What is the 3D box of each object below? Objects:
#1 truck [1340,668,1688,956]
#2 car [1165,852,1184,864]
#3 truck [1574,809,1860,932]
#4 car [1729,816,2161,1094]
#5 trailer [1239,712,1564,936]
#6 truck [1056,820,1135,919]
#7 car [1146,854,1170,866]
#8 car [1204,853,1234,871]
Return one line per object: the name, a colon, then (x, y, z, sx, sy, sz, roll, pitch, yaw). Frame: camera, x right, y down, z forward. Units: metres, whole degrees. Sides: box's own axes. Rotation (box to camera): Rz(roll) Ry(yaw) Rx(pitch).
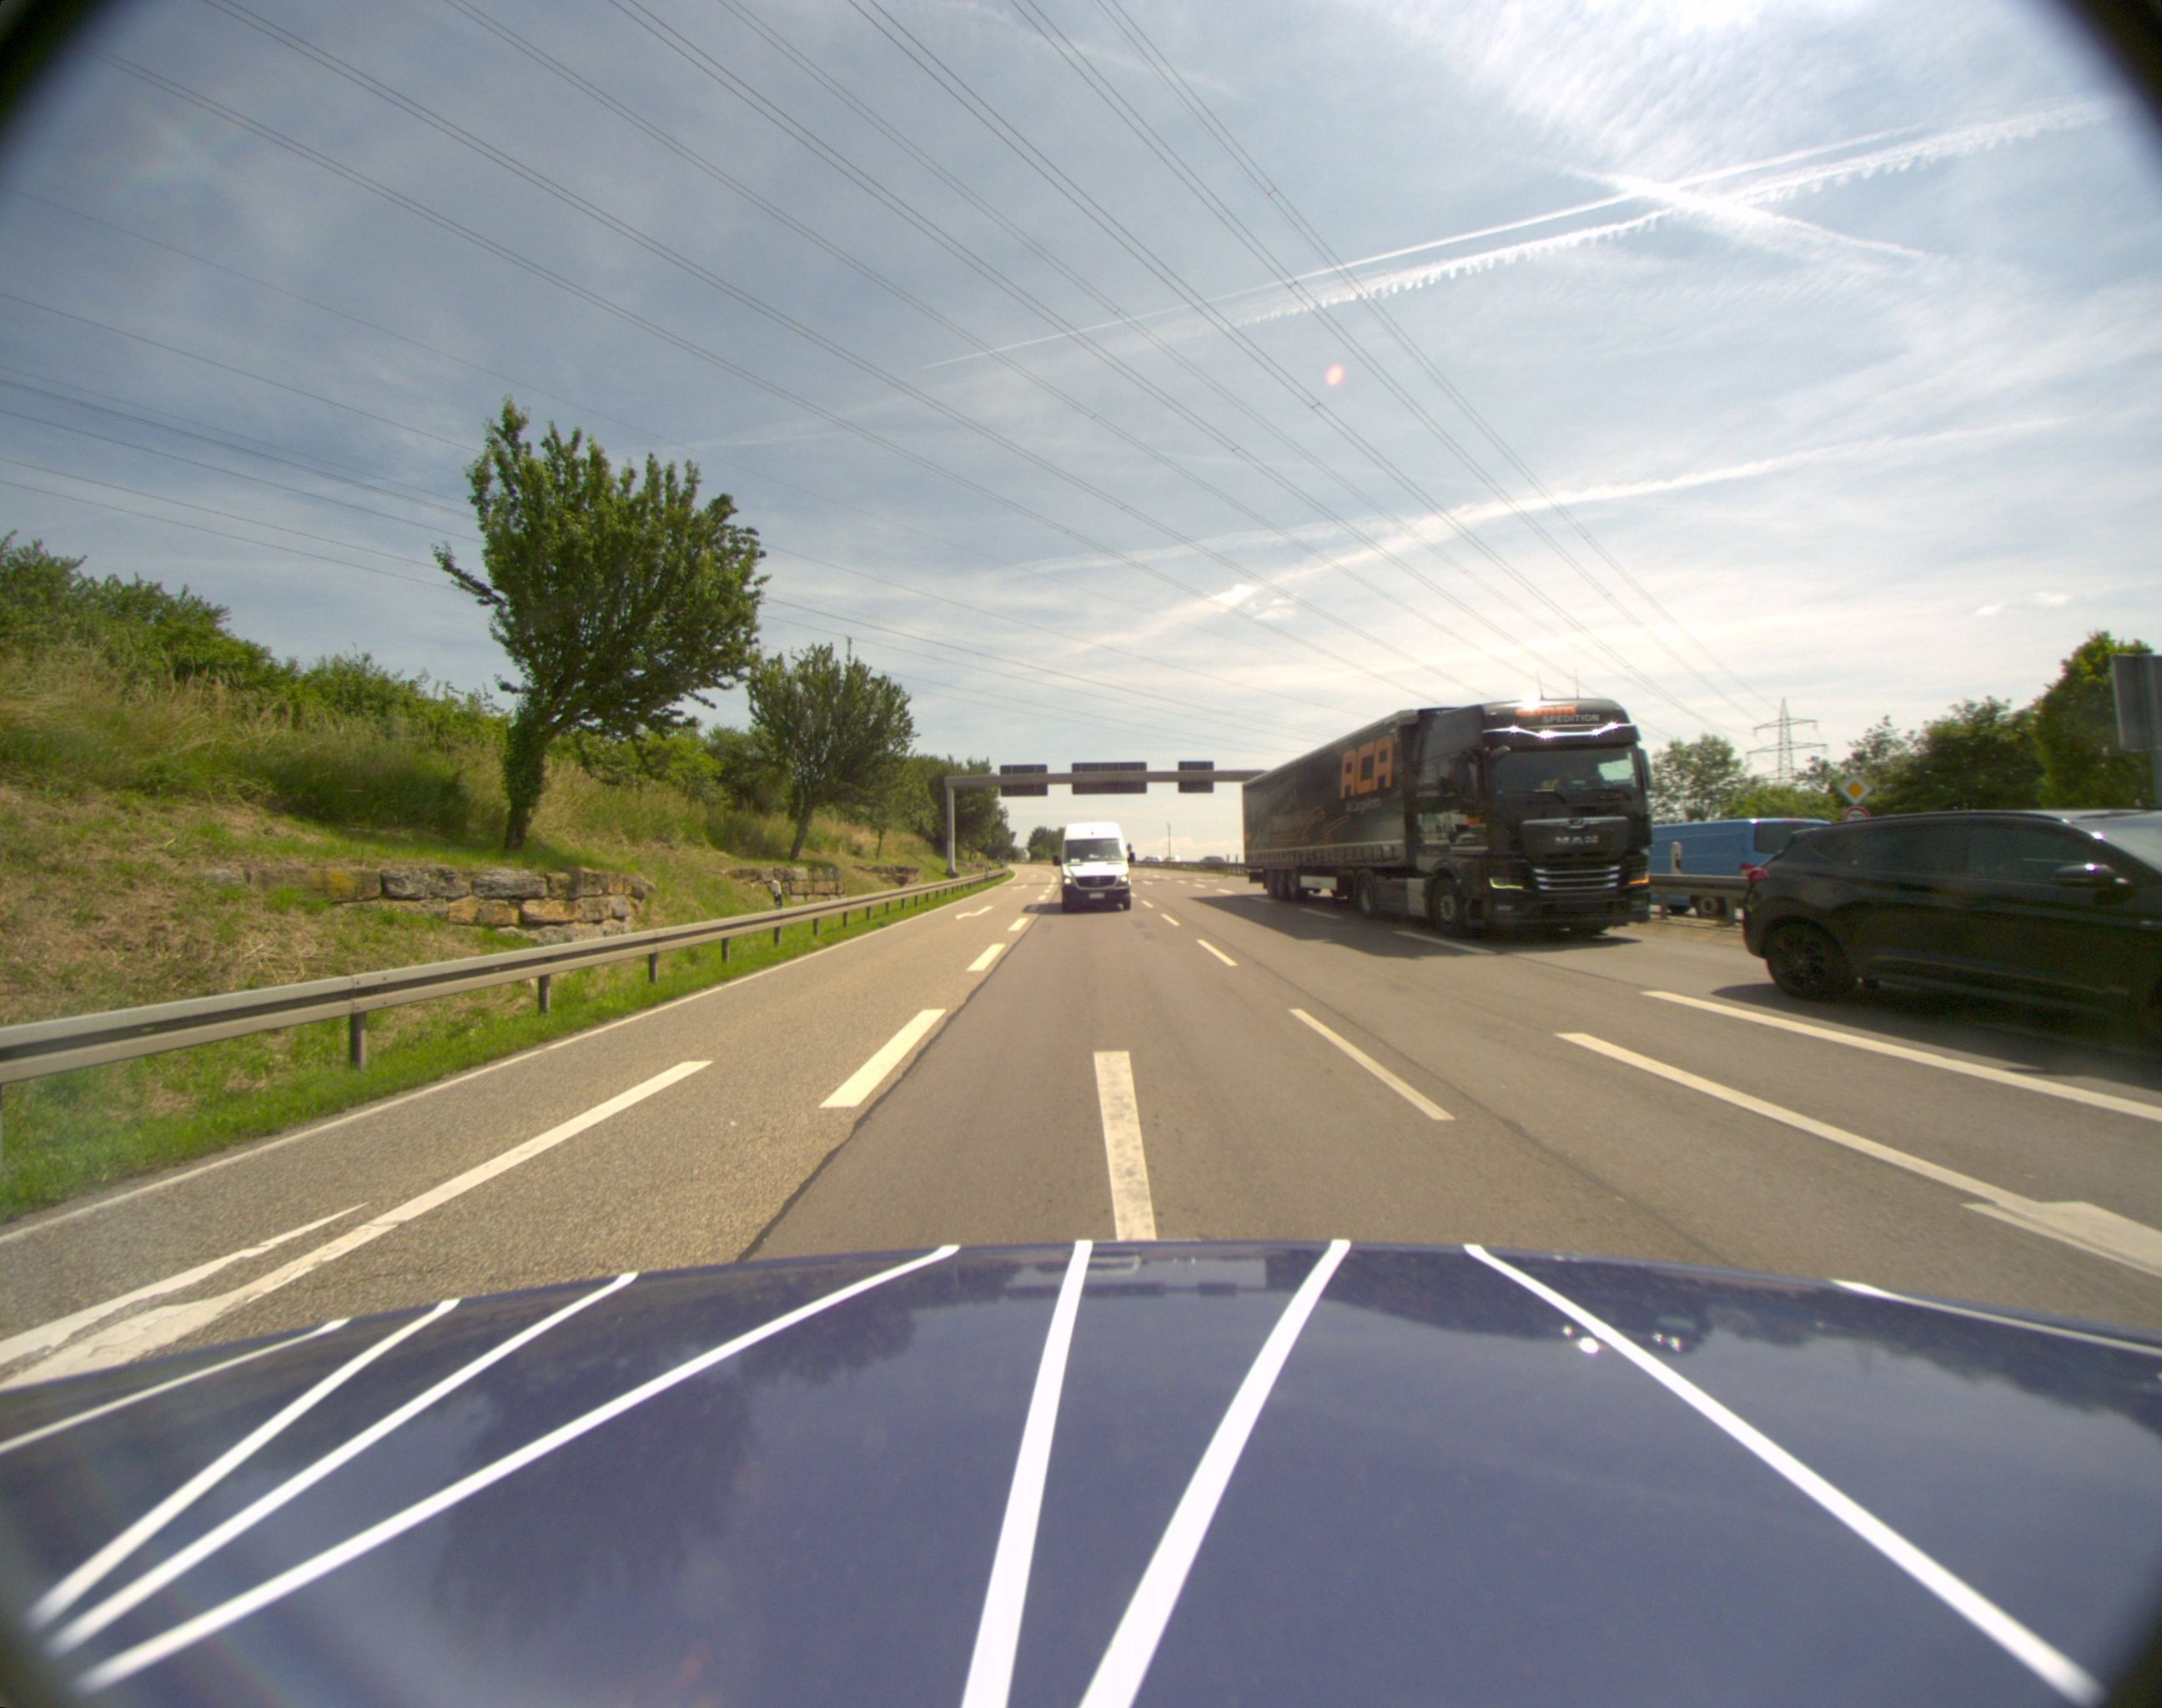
truck: (7.177, -0.605, 13.774, 2.790, 3.990, 5.970, -2, 0, 0)
car: (11.818, 0.497, 96.187, 1.518, 1.472, 3.701, 1, 0, -8)
truck: (12.665, 0.258, 15.653, 1.971, 2.145, 4.622, -1, 1, -1)
car: (7.367, 0.570, 5.382, 1.860, 1.648, 4.348, -2, 0, 1)
trailer: (7.154, -0.565, 20.446, 2.790, 3.891, 13.785, -2, 0, 0)
truck: (0.395, 0.402, 22.362, 1.998, 2.518, 5.105, -2, 0, 0)
car: (9.349, 0.731, 92.763, 1.742, 1.434, 4.320, 1, 0, -10)
car: (12.170, 0.677, 67.432, 1.740, 1.495, 4.323, 1, 0, -2)
